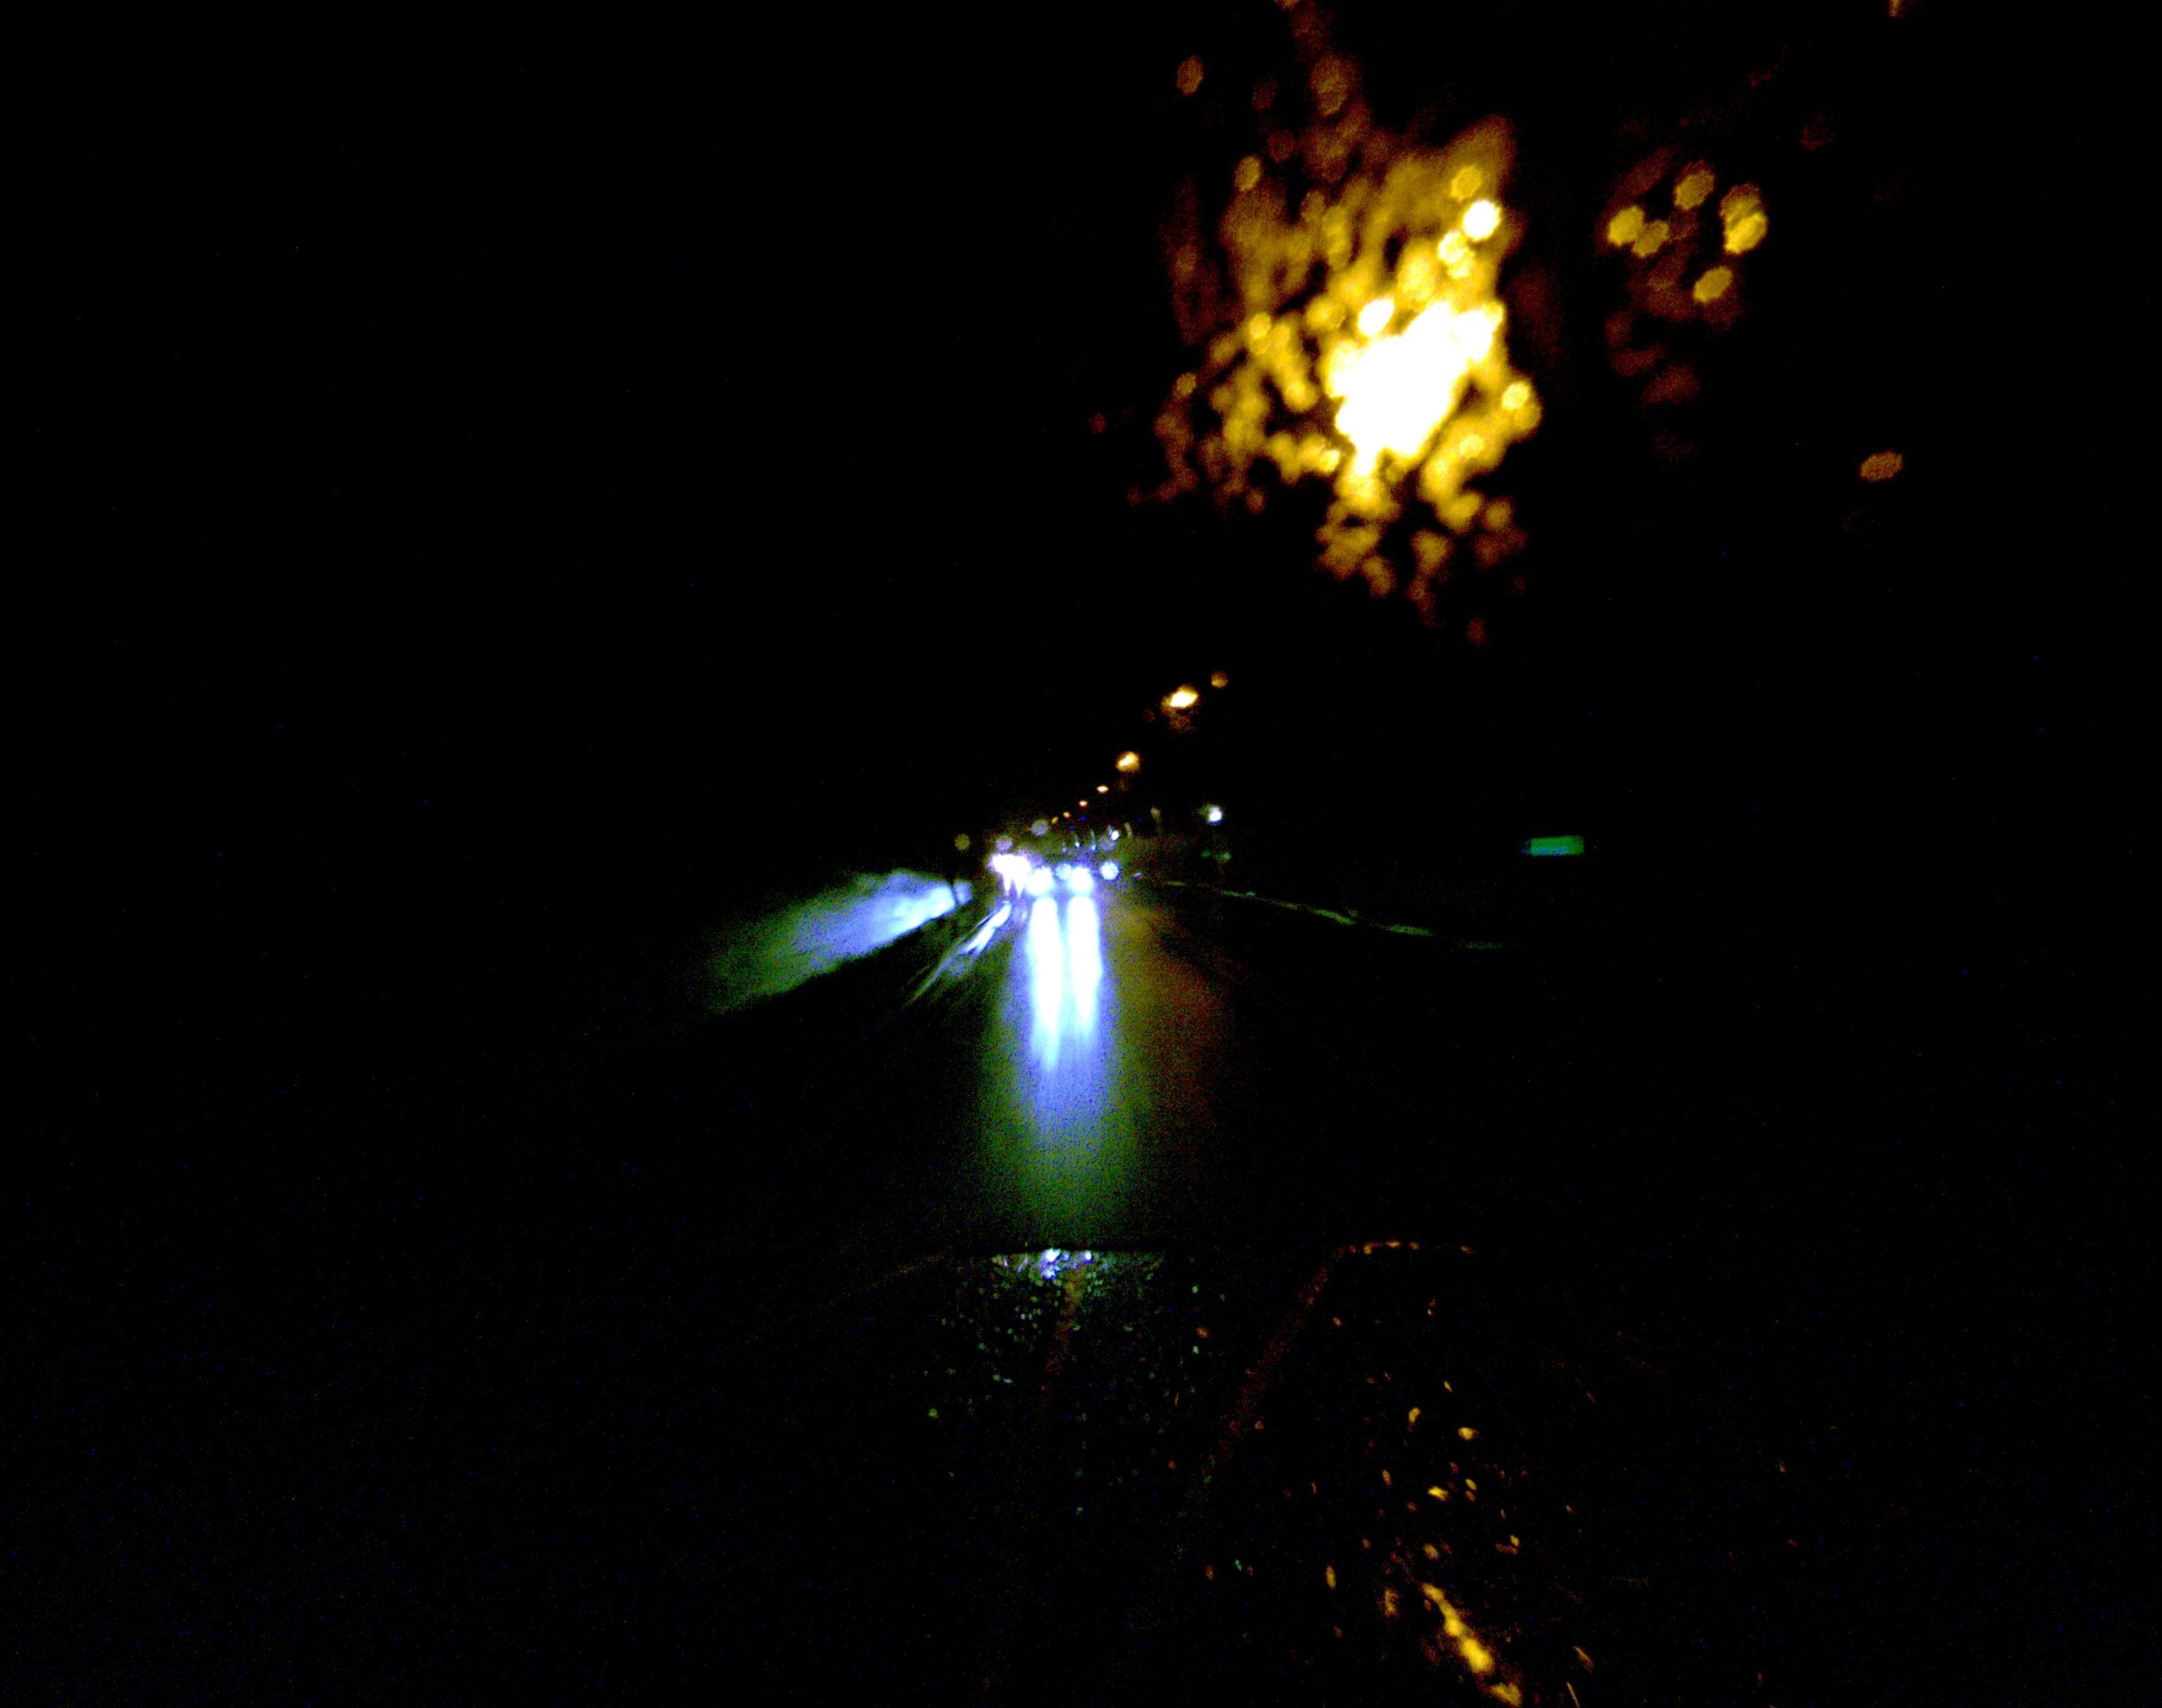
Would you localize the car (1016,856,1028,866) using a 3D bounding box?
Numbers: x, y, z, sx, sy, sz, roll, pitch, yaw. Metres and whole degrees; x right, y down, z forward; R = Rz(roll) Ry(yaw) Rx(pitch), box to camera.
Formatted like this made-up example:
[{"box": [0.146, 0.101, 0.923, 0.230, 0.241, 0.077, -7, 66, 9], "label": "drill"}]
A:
[{"box": [-9.118, 1.047, 117.971, 1.718, 1.370, 4.582, -3, 0, -6], "label": "car"}]

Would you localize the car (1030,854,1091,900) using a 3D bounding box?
[{"box": [-0.918, 0.868, 30.823, 2.000, 1.585, 4.605, -2, 1, -7], "label": "car"}]

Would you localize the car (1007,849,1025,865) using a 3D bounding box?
[{"box": [-8.085, 0.342, 94.468, 1.900, 2.002, 3.996, -1, 1, -9], "label": "car"}]
